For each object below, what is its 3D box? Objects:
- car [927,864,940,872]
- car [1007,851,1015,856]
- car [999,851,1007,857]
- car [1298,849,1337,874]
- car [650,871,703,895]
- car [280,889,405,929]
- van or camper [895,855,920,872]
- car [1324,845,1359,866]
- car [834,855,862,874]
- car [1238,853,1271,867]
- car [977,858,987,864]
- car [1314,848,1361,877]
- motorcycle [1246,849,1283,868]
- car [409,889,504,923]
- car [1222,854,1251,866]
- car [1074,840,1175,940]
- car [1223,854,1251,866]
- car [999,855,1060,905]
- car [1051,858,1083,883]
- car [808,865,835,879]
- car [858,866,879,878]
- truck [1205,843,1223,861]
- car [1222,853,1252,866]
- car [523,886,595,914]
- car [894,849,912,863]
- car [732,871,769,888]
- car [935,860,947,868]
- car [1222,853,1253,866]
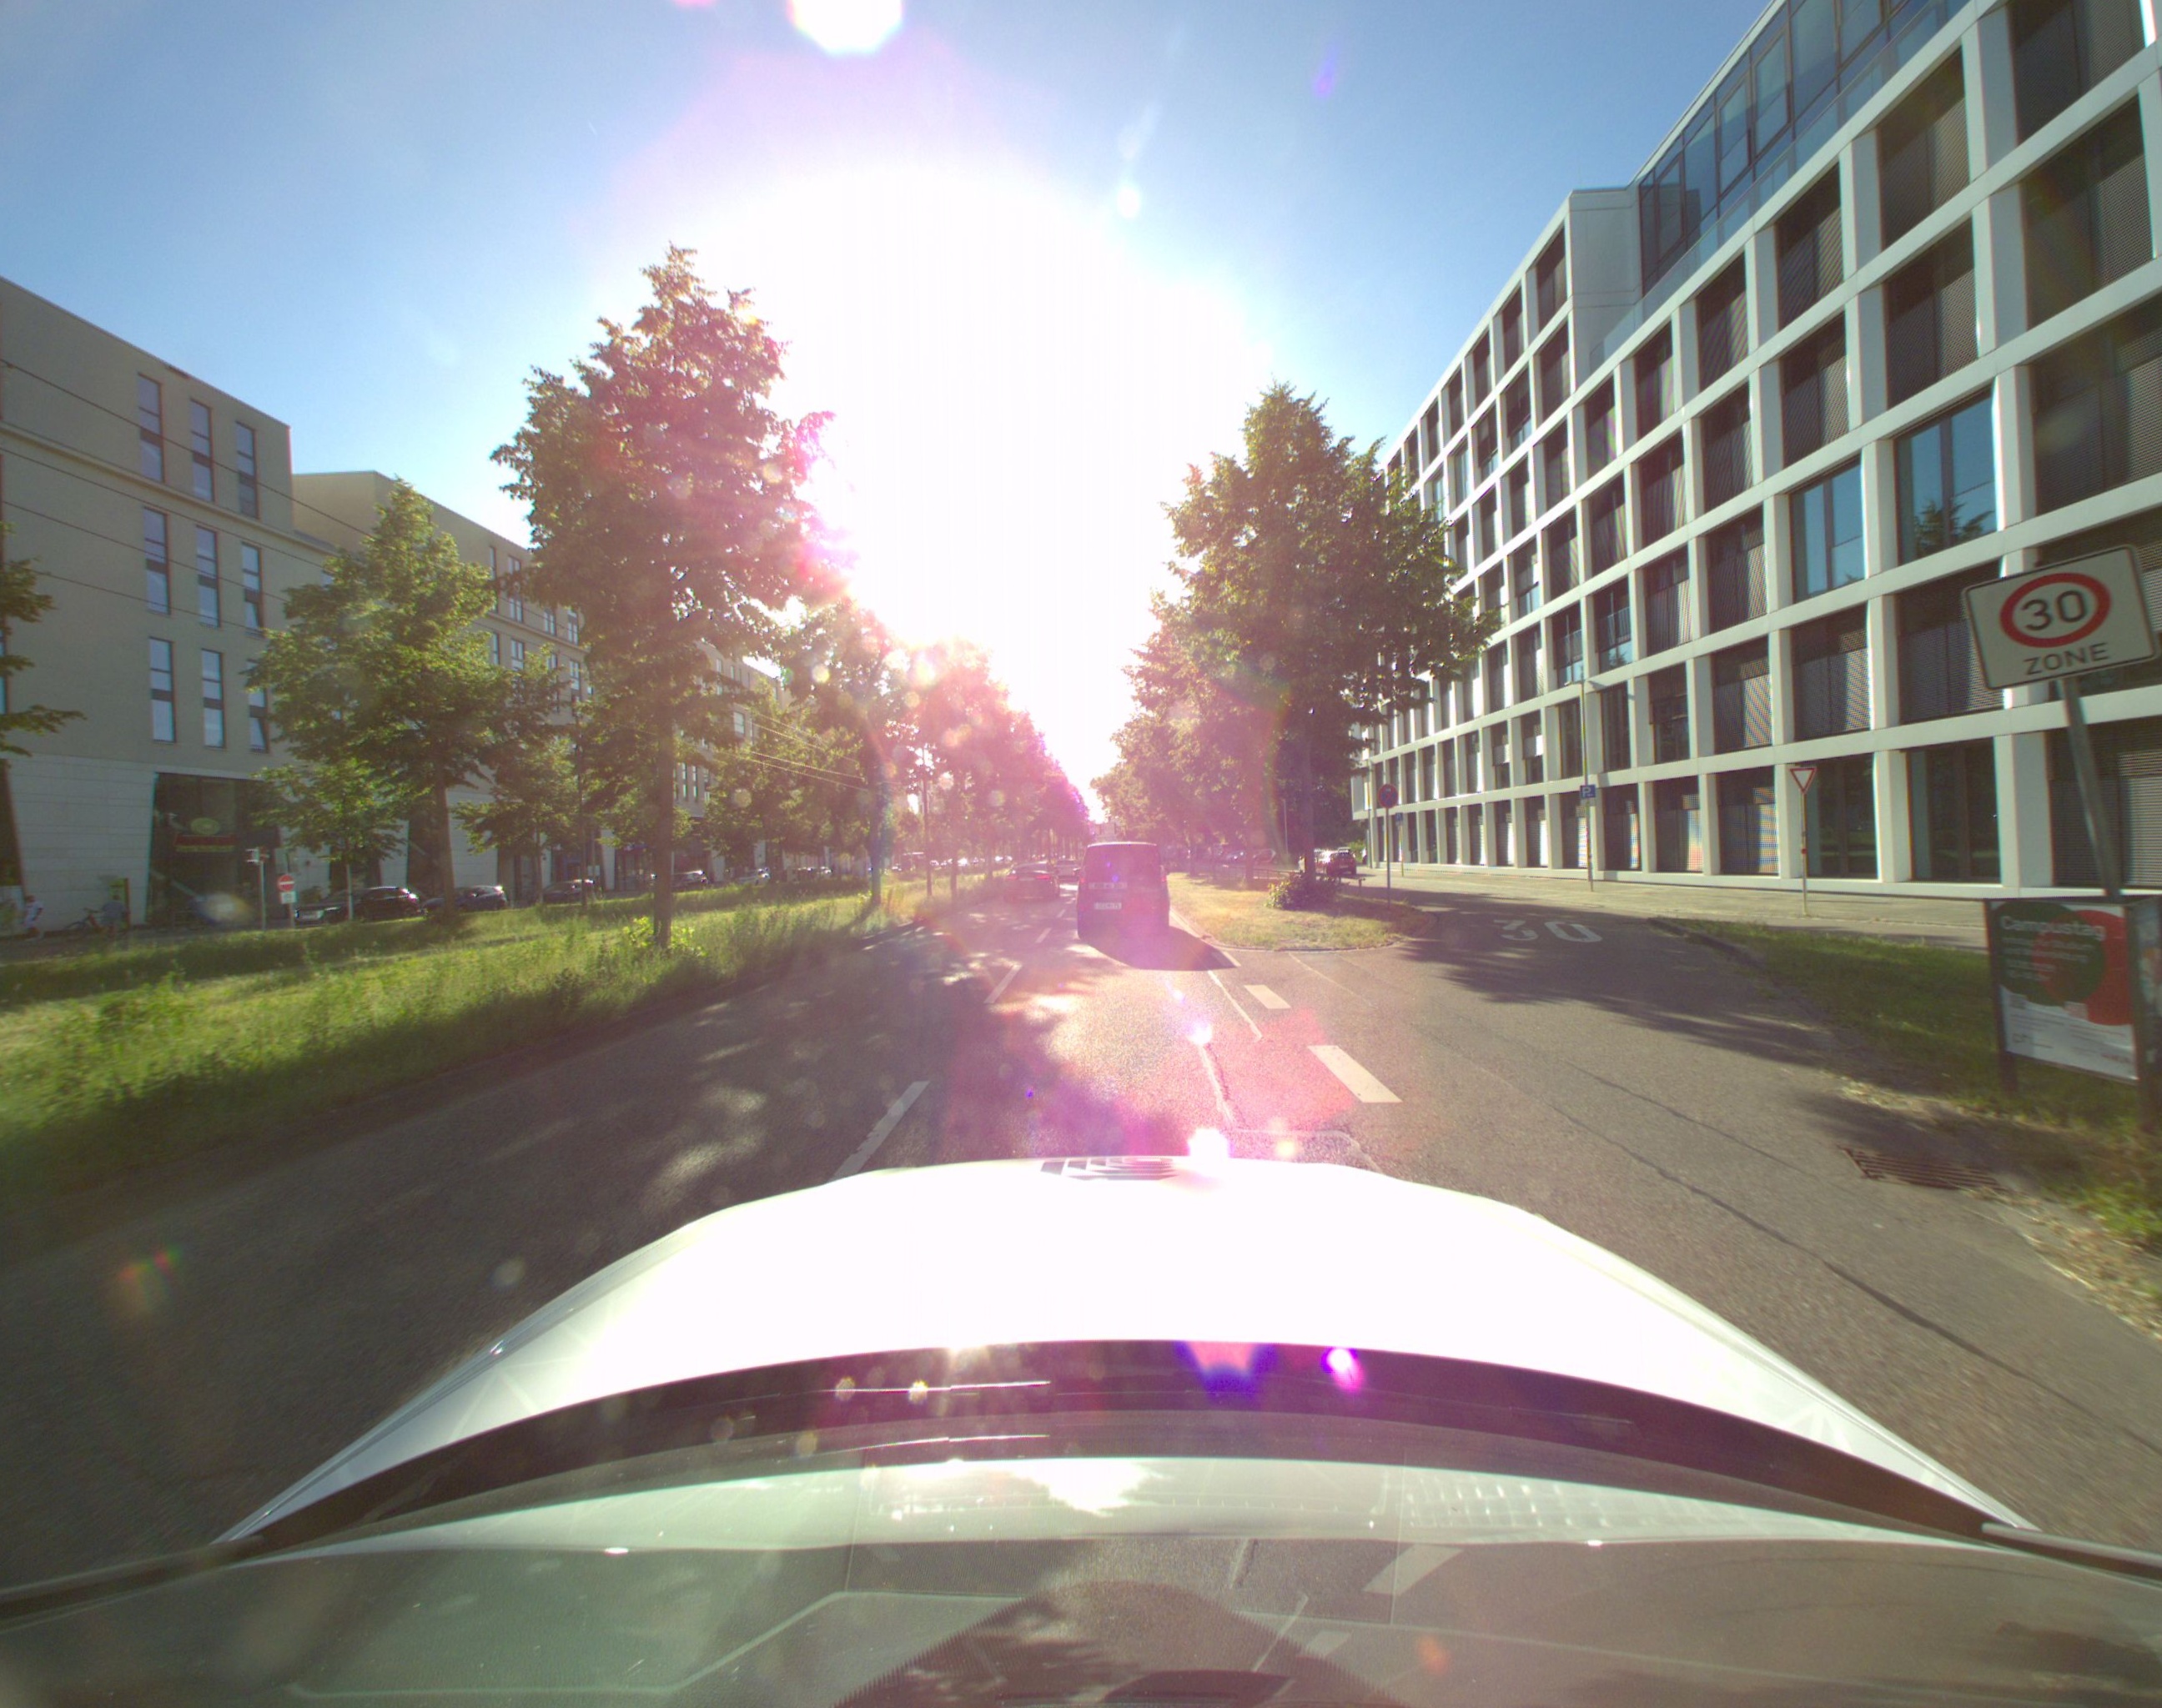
[{"bbox_3d":[-25.865,2.428,142.768,1.574,1.342,3.713,-2,0,2],"label":"car"},{"bbox_3d":[-20.678,-0.092,241.299,1.749,1.574,4.001,-2,0,2],"label":"car"},{"bbox_3d":[-21.250,0.108,221.434,1.749,1.574,4.001,-2,0,2],"label":"car"},{"bbox_3d":[15.469,0.470,53.331,1.810,1.532,3.442,-2,0,5],"label":"car"},{"bbox_3d":[-29.106,2.053,58.699,1.769,1.528,3.807,-2,0,2],"label":"car"},{"bbox_3d":[-29.895,2.186,33.131,1.574,1.342,3.713,-2,0,2],"label":"car"},{"bbox_3d":[-19.169,1.049,90.273,1.814,1.738,3.713,-2,0,2],"label":"van or camper"},{"bbox_3d":[23.056,0.147,72.144,1.985,1.816,4.004,-1,0,3],"label":"car"},{"bbox_3d":[-26.468,1.129,92.725,1.987,2.013,4.000,-2,0,0],"label":"car"},{"bbox_3d":[18.635,0.593,87.553,3.379,1.358,1.474,-2,0,8],"label":"car"},{"bbox_3d":[-24.445,1.687,201.146,1.596,1.556,4.002,-2,0,2],"label":"car"},{"bbox_3d":[15.167,0.466,48.396,1.750,1.611,3.907,-2,0,3],"label":"car"},{"bbox_3d":[17.975,0.422,79.861,3.379,1.663,1.474,-2,0,8],"label":"motorcycle"},{"bbox_3d":[-29.672,2.455,38.825,1.574,1.342,3.713,-2,0,2],"label":"car"},{"bbox_3d":[18.868,0.764,98.915,3.379,1.358,1.474,-2,0,8],"label":"car"},{"bbox_3d":[0.830,0.644,16.861,1.801,1.794,4.114,-1,0,1],"label":"car"},{"bbox_3d":[19.350,0.776,101.245,3.379,1.358,1.474,-2,0,8],"label":"car"},{"bbox_3d":[-1.738,0.857,28.843,1.802,1.527,4.113,-2,0,0],"label":"car"},{"bbox_3d":[-0.850,1.004,52.066,1.801,1.434,4.114,-2,0,1],"label":"car"},{"bbox_3d":[-27.785,1.940,87.314,1.574,1.342,3.713,-2,0,2],"label":"car"},{"bbox_3d":[-27.310,2.267,104.598,1.574,1.342,3.713,-2,0,2],"label":"car"},{"bbox_3d":[19.402,-0.266,119.063,1.825,2.501,5.934,-2,0,2],"label":"truck"},{"bbox_3d":[18.402,0.642,96.194,3.379,1.358,1.474,-2,0,8],"label":"car"},{"bbox_3d":[-29.434,2.582,46.060,1.574,1.342,3.713,-2,0,2],"label":"car"},{"bbox_3d":[-26.328,0.240,120.515,1.723,2.013,3.999,-2,0,0],"label":"car"},{"bbox_3d":[-28.763,2.187,70.930,1.574,1.342,3.713,-2,0,2],"label":"car"},{"bbox_3d":[-31.055,2.219,180.565,1.726,1.772,4.001,-2,0,2],"label":"car"},{"bbox_3d":[17.724,0.643,92.396,3.379,1.358,1.474,-2,0,8],"label":"car"}]
